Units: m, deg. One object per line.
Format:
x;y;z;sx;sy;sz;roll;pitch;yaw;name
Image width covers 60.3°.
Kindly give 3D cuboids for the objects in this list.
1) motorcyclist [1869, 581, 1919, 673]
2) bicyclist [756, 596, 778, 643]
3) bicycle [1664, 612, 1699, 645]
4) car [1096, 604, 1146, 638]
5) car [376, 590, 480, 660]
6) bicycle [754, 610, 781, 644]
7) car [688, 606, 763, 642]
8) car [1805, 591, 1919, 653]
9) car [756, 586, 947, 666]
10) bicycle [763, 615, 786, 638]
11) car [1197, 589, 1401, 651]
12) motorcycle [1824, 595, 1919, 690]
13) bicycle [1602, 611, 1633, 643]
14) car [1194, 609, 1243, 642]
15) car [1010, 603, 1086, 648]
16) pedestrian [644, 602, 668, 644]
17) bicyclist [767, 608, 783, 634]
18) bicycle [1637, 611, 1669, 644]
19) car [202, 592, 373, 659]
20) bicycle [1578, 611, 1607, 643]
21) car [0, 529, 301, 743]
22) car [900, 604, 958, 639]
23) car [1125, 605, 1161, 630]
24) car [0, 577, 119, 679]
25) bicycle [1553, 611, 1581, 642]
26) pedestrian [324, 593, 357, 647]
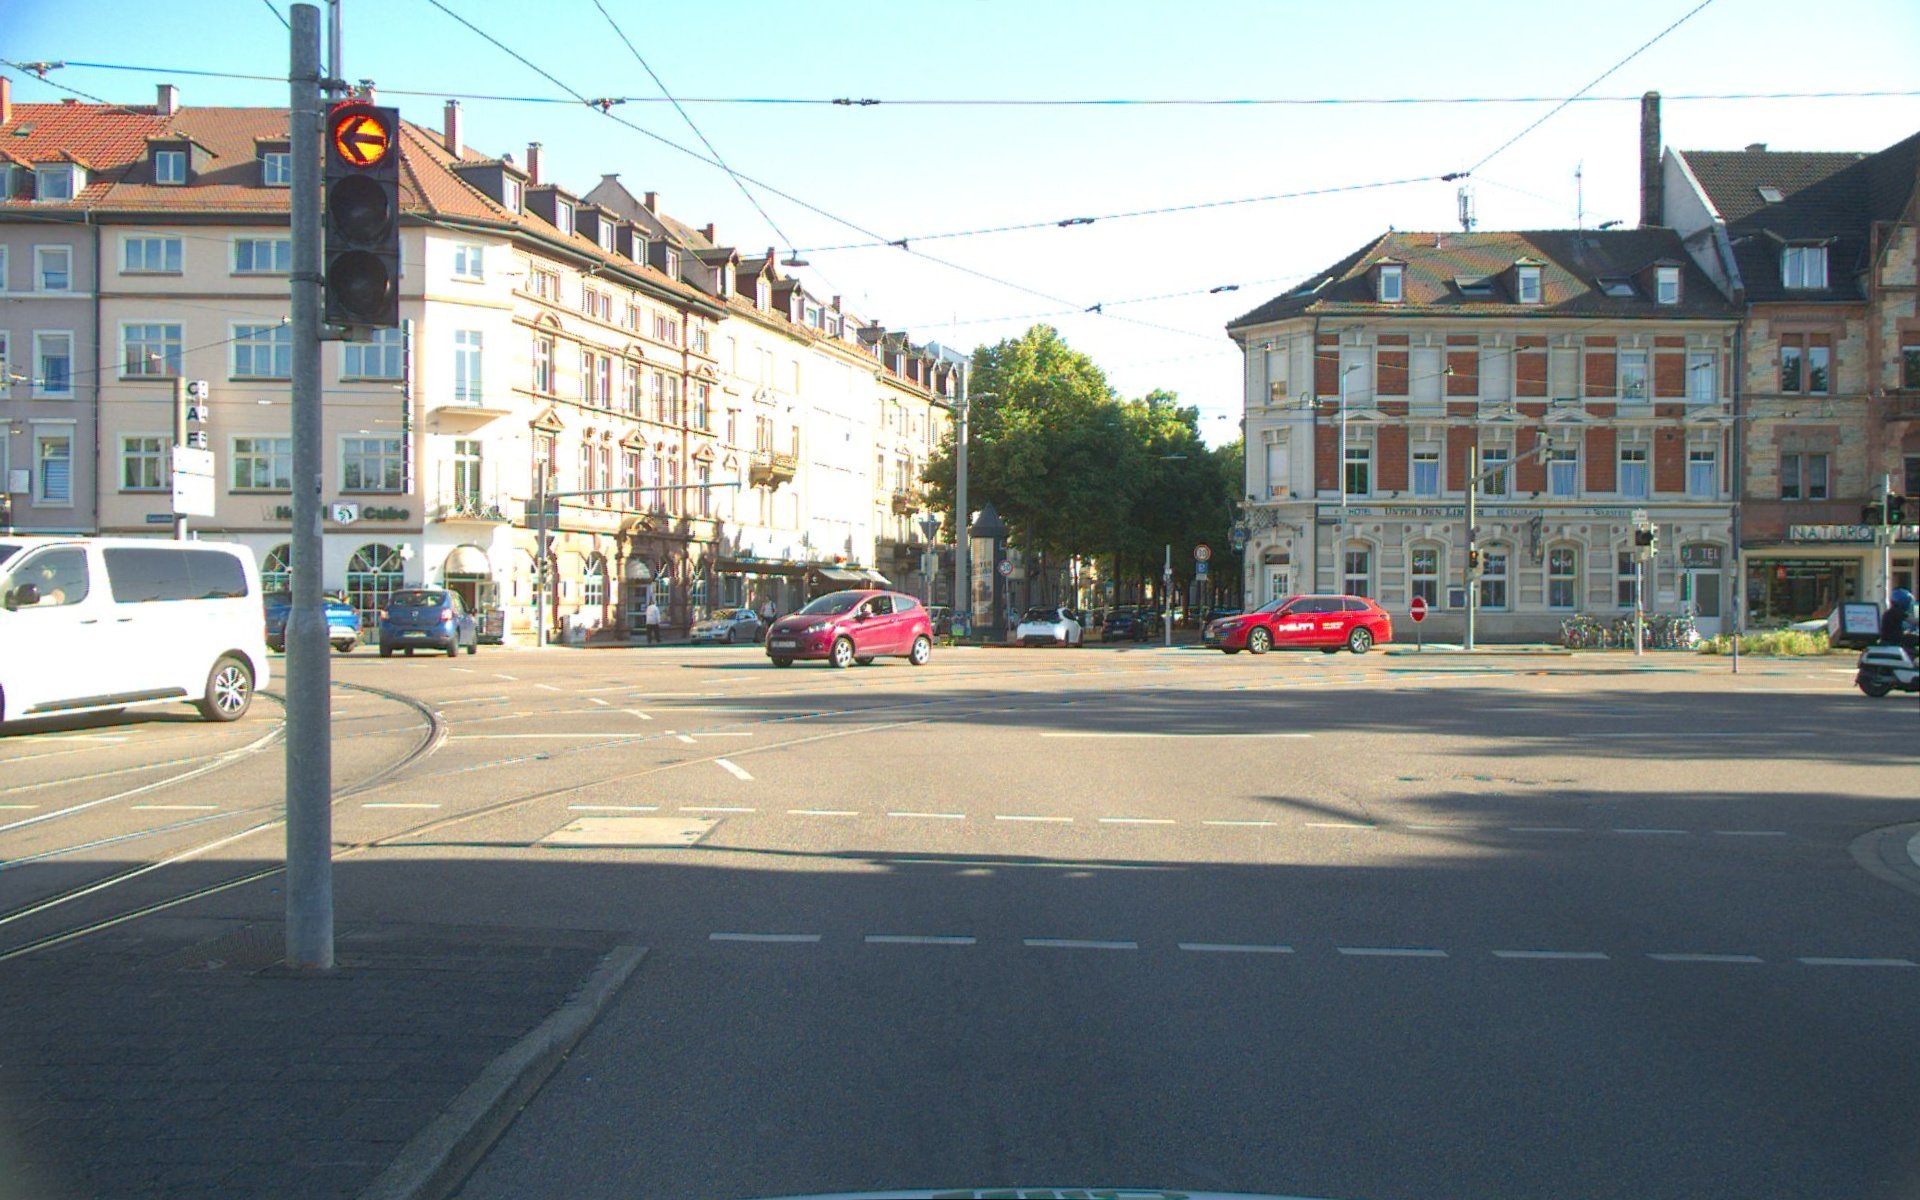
13.943;0.391;24.220;0.994;1.323;0.789;1;-1;22;motorcyclist
-7.572;0.774;64.900;0.553;1.835;0.915;1;-1;14;bicyclist
23.321;0.898;53.482;0.775;1.033;2.211;1;0;17;bicycle
7.155;0.893;73.075;1.786;1.428;4.003;0;0;12;car
-12.267;0.527;38.360;1.752;1.530;3.910;0;0;-10;car
-7.552;1.056;64.958;0.553;1.276;1.558;1;0;14;bicycle
-9.457;0.962;66.891;1.624;1.398;3.894;1;0;14;car
25.921;0.630;46.027;3.905;1.650;1.804;1;0;0;car
-2.045;0.464;32.142;1.565;1.451;3.865;1;1;37;car
-7.527;1.066;67.210;0.462;0.938;1.453;1;0;14;bicycle
8.572;0.488;41.902;4.775;1.495;1.797;0;1;-14;car
13.895;0.619;24.238;2.092;1.357;0.797;1;0;22;motorcycle
21.343;0.879;53.703;0.749;1.001;2.211;1;0;17;bicycle
12.949;1.269;82.744;1.719;1.583;4.001;1;0;20;car
3.178;0.895;59.005;1.852;1.479;4.011;0;1;16;car
-12.084;0.905;65.772;0.556;1.671;0.792;1;-1;22;pedestrian
-7.525;0.843;67.222;0.462;1.058;0.538;1;-1;14;bicyclist
22.470;0.885;53.655;0.749;1.025;2.221;1;0;17;bicycle
-17.200;0.623;42.297;4.104;1.602;1.829;1;0;28;car
20.564;0.866;53.796;0.749;0.985;2.211;1;0;17;bicycle
-9.026;0.304;16.278;1.951;1.886;5.220;0;0;16;car
-1.438;1.042;79.388;1.764;1.603;3.893;1;0;15;car
12.921;1.234;116.456;1.951;1.713;4.003;1;0;15;car
-16.364;0.459;27.005;4.415;1.630;1.846;-1;0;-42;car
19.810;0.853;54.033;0.749;0.979;2.211;1;0;17;bicycle
-18.825;0.615;50.270;0.655;1.622;0.815;1;-1;-1;pedestrian
